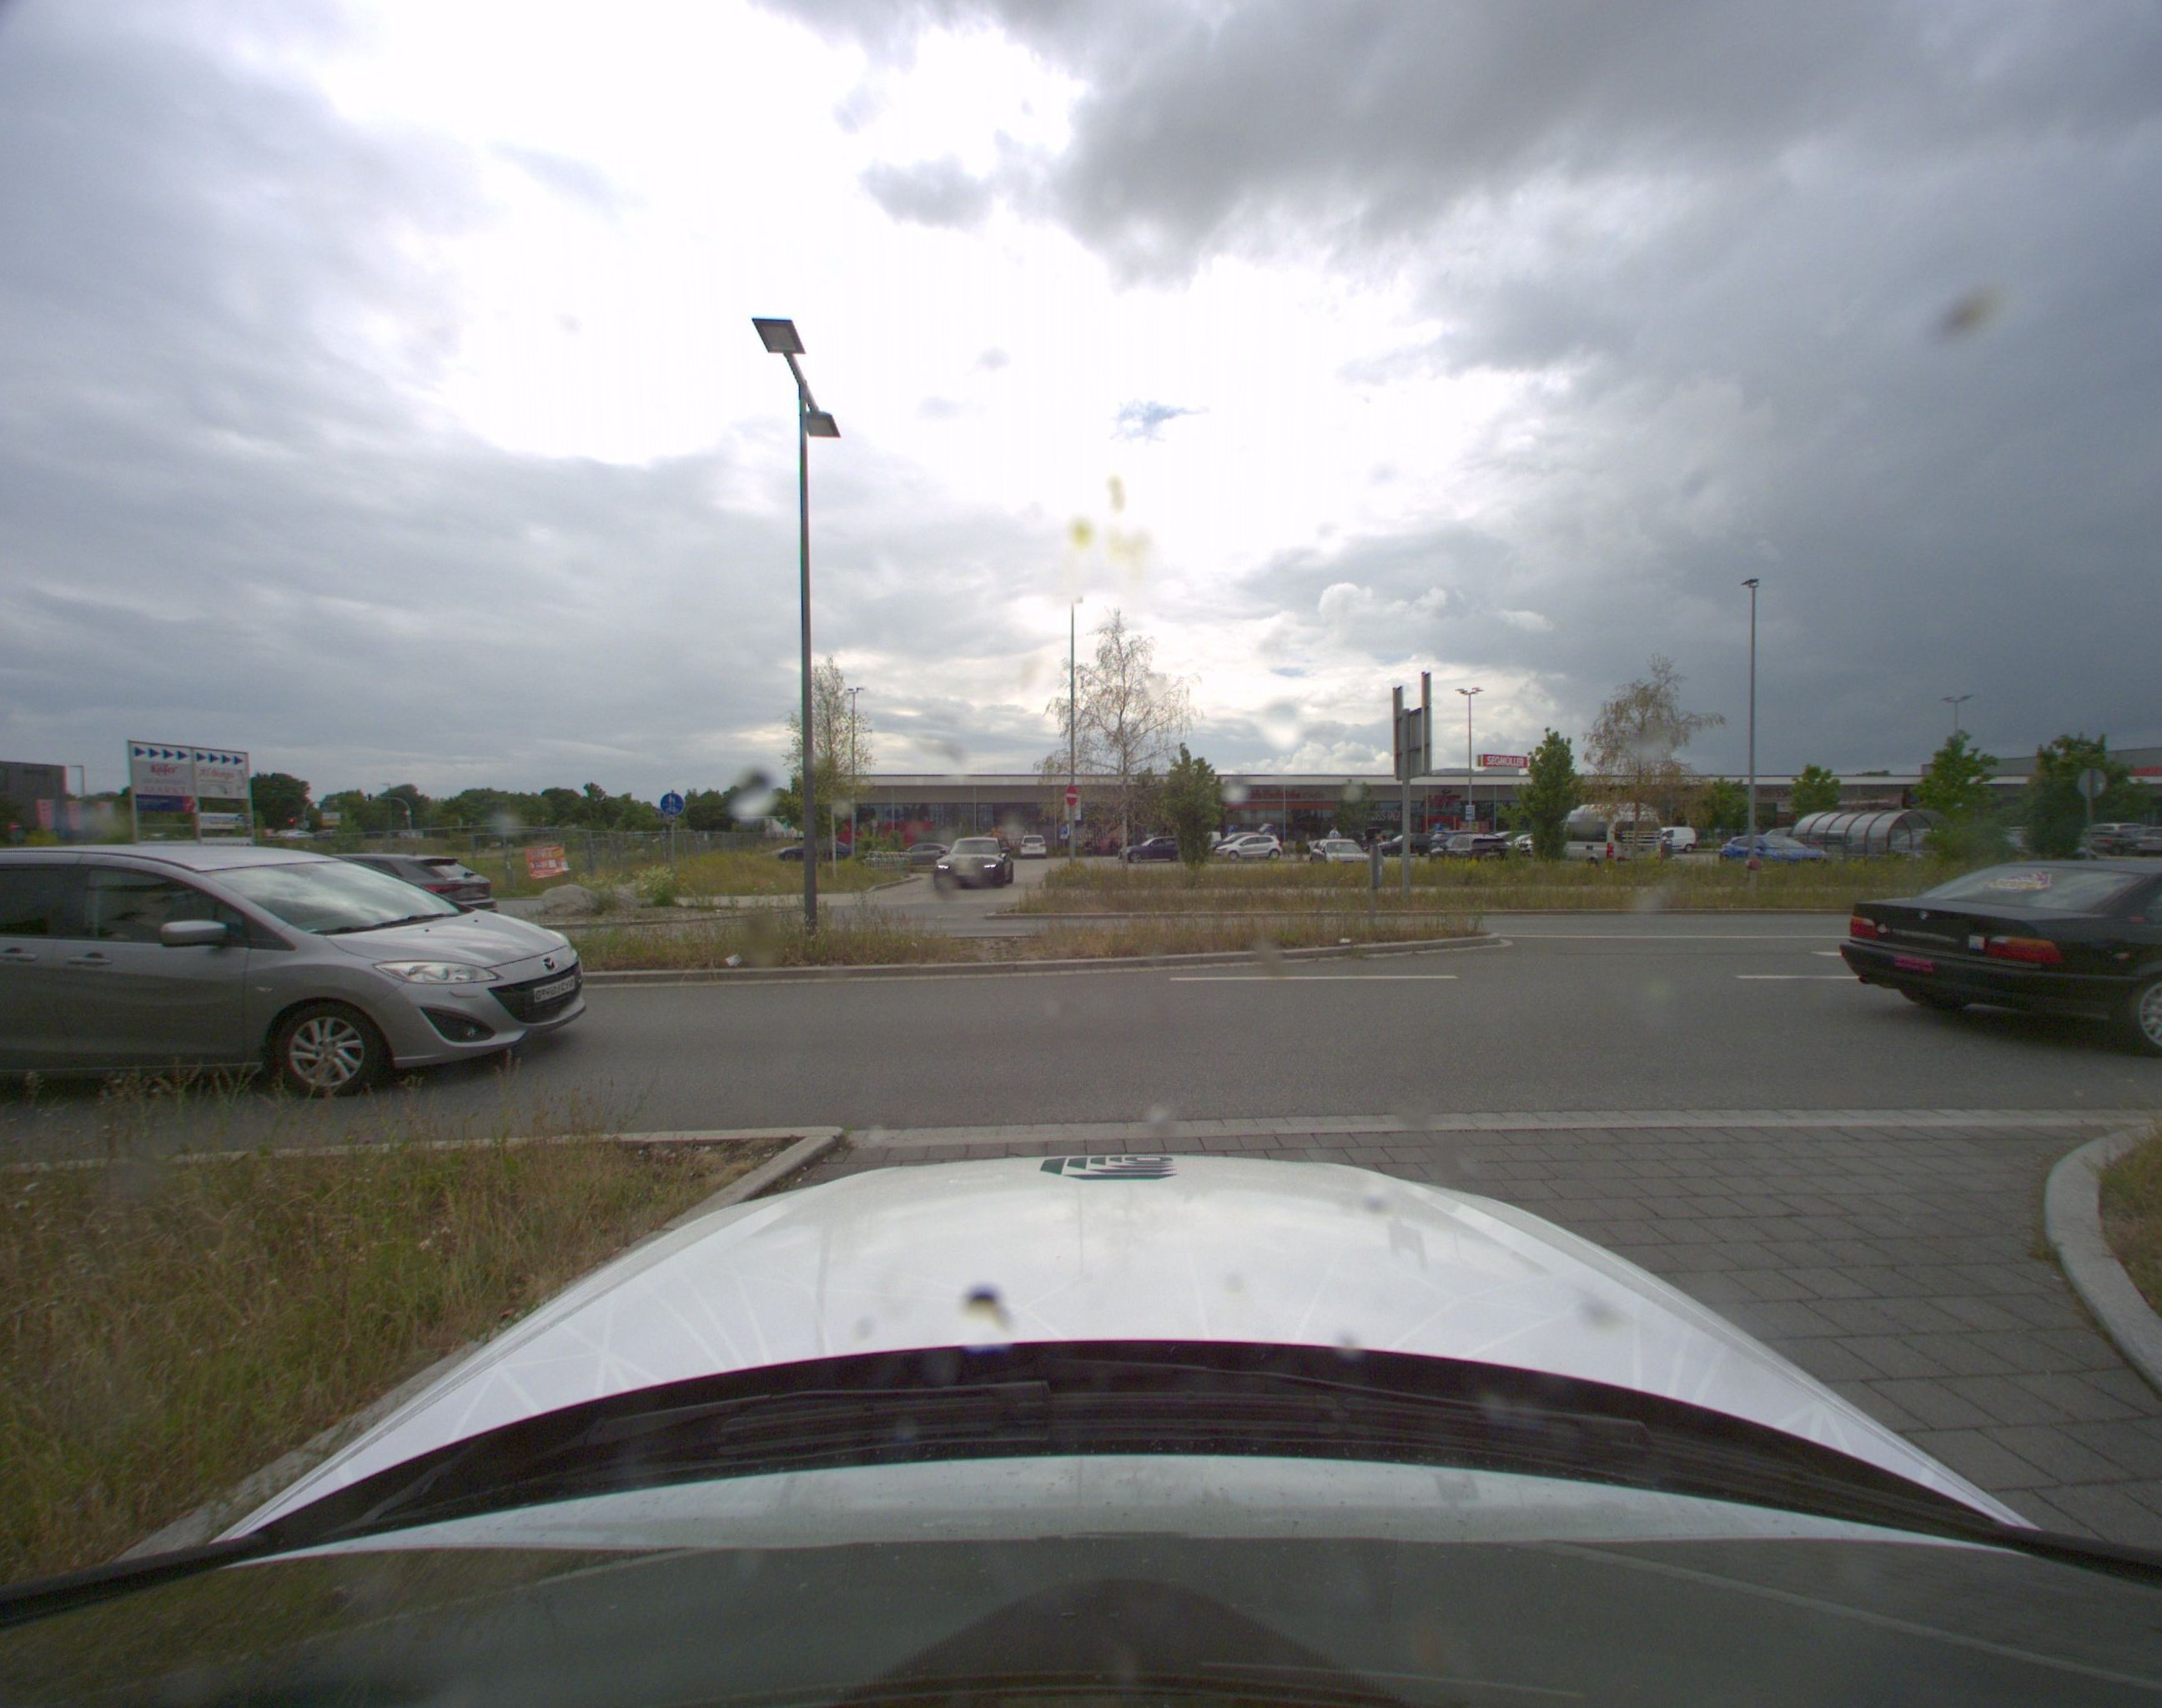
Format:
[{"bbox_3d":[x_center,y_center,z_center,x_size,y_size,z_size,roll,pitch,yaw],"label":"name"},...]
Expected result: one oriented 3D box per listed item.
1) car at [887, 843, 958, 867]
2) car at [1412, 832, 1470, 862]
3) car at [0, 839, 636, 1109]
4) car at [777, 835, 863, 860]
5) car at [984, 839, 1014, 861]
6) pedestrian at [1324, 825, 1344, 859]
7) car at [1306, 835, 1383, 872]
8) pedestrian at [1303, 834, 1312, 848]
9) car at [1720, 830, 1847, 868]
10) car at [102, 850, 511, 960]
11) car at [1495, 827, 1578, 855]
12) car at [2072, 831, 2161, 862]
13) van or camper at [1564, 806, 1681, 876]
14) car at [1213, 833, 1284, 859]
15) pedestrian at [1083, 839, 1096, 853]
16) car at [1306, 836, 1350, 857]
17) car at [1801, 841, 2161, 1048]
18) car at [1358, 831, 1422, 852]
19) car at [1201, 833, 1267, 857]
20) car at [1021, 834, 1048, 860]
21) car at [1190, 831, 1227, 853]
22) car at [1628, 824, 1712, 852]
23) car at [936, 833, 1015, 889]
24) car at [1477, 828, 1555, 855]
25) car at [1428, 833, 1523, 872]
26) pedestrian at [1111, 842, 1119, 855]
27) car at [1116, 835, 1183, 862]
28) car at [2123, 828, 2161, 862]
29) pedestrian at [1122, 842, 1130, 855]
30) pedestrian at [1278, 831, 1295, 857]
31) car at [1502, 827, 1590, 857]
[{"bbox_3d":[-9.223,0.030,47.670,3.984,1.352,1.995,0,1,-8],"label":"car"},{"bbox_3d":[20.977,-0.463,47.605,1.806,1.653,4.005,-1,1,4],"label":"car"},{"bbox_3d":[-5.970,0.728,5.910,4.377,1.562,1.820,-1,3,-3],"label":"car"},{"bbox_3d":[-16.756,-0.420,52.602,5.007,1.557,1.994,0,1,-10],"label":"car"},{"bbox_3d":[-5.937,-0.318,59.117,1.902,1.443,3.997,-1,1,-2],"label":"car"},{"bbox_3d":[14.921,-0.723,47.994,0.862,2.013,1.003,0,1,0],"label":"pedestrian"},{"bbox_3d":[10.521,-0.059,32.817,1.980,1.384,4.153,0,1,3],"label":"car"},{"bbox_3d":[19.204,-1.116,68.986,0.559,1.201,0.527,-1,1,-5],"label":"pedestrian"},{"bbox_3d":[27.197,-0.208,31.710,1.794,1.384,4.160,0,1,8],"label":"car"},{"bbox_3d":[-11.753,0.715,12.690,4.304,1.466,1.793,-1,2,-9],"label":"car"},{"bbox_3d":[27.844,-0.792,49.857,3.970,1.617,2.002,-1,1,3],"label":"car"},{"bbox_3d":[57.886,-0.444,45.507,3.829,1.653,1.755,-1,2,-14],"label":"car"},{"bbox_3d":[20.540,-0.479,31.129,2.270,2.492,4.010,0,1,8],"label":"van or camper"},{"bbox_3d":[9.773,-0.496,47.593,3.741,1.454,1.665,-1,1,-5],"label":"car"},{"bbox_3d":[0.681,-0.644,69.055,0.969,1.154,1.131,-1,1,-7],"label":"pedestrian"},{"bbox_3d":[18.643,-0.599,61.689,1.989,1.508,3.997,-1,2,-3],"label":"car"},{"bbox_3d":[8.702,0.616,6.556,4.273,1.386,1.759,-1,1,0],"label":"car"},{"bbox_3d":[22.778,-0.935,60.077,3.979,1.508,1.998,-1,1,-4],"label":"car"},{"bbox_3d":[9.463,-0.563,50.646,3.741,1.454,1.665,-1,1,-5],"label":"car"},{"bbox_3d":[-3.347,-0.545,59.385,1.819,1.699,4.231,-1,2,-2],"label":"car"},{"bbox_3d":[9.467,-0.926,60.834,1.989,1.508,3.997,-1,2,-3],"label":"car"},{"bbox_3d":[39.352,-1.060,54.436,4.410,1.818,1.995,0,1,-8],"label":"car"},{"bbox_3d":[-2.953,0.147,23.761,1.775,1.445,4.608,-1,1,-1],"label":"car"},{"bbox_3d":[28.058,-0.824,52.617,3.970,1.617,2.002,-1,1,3],"label":"car"},{"bbox_3d":[15.615,-0.101,32.467,1.980,1.451,4.153,0,1,3],"label":"car"},{"bbox_3d":[2.835,-0.468,68.719,0.576,1.124,0.560,-1,1,-9],"label":"pedestrian"},{"bbox_3d":[3.907,-0.329,46.723,3.602,1.454,1.664,-1,1,-6],"label":"car"},{"bbox_3d":[57.927,-0.489,43.073,3.991,1.733,1.991,-1,2,-13],"label":"car"},{"bbox_3d":[3.725,-0.458,67.912,0.576,1.124,0.560,-1,1,-9],"label":"pedestrian"},{"bbox_3d":[12.716,-0.622,50.398,0.819,1.631,0.899,0,1,0],"label":"pedestrian"},{"bbox_3d":[26.681,-0.716,46.833,3.970,1.617,2.002,-1,1,3],"label":"car"}]
